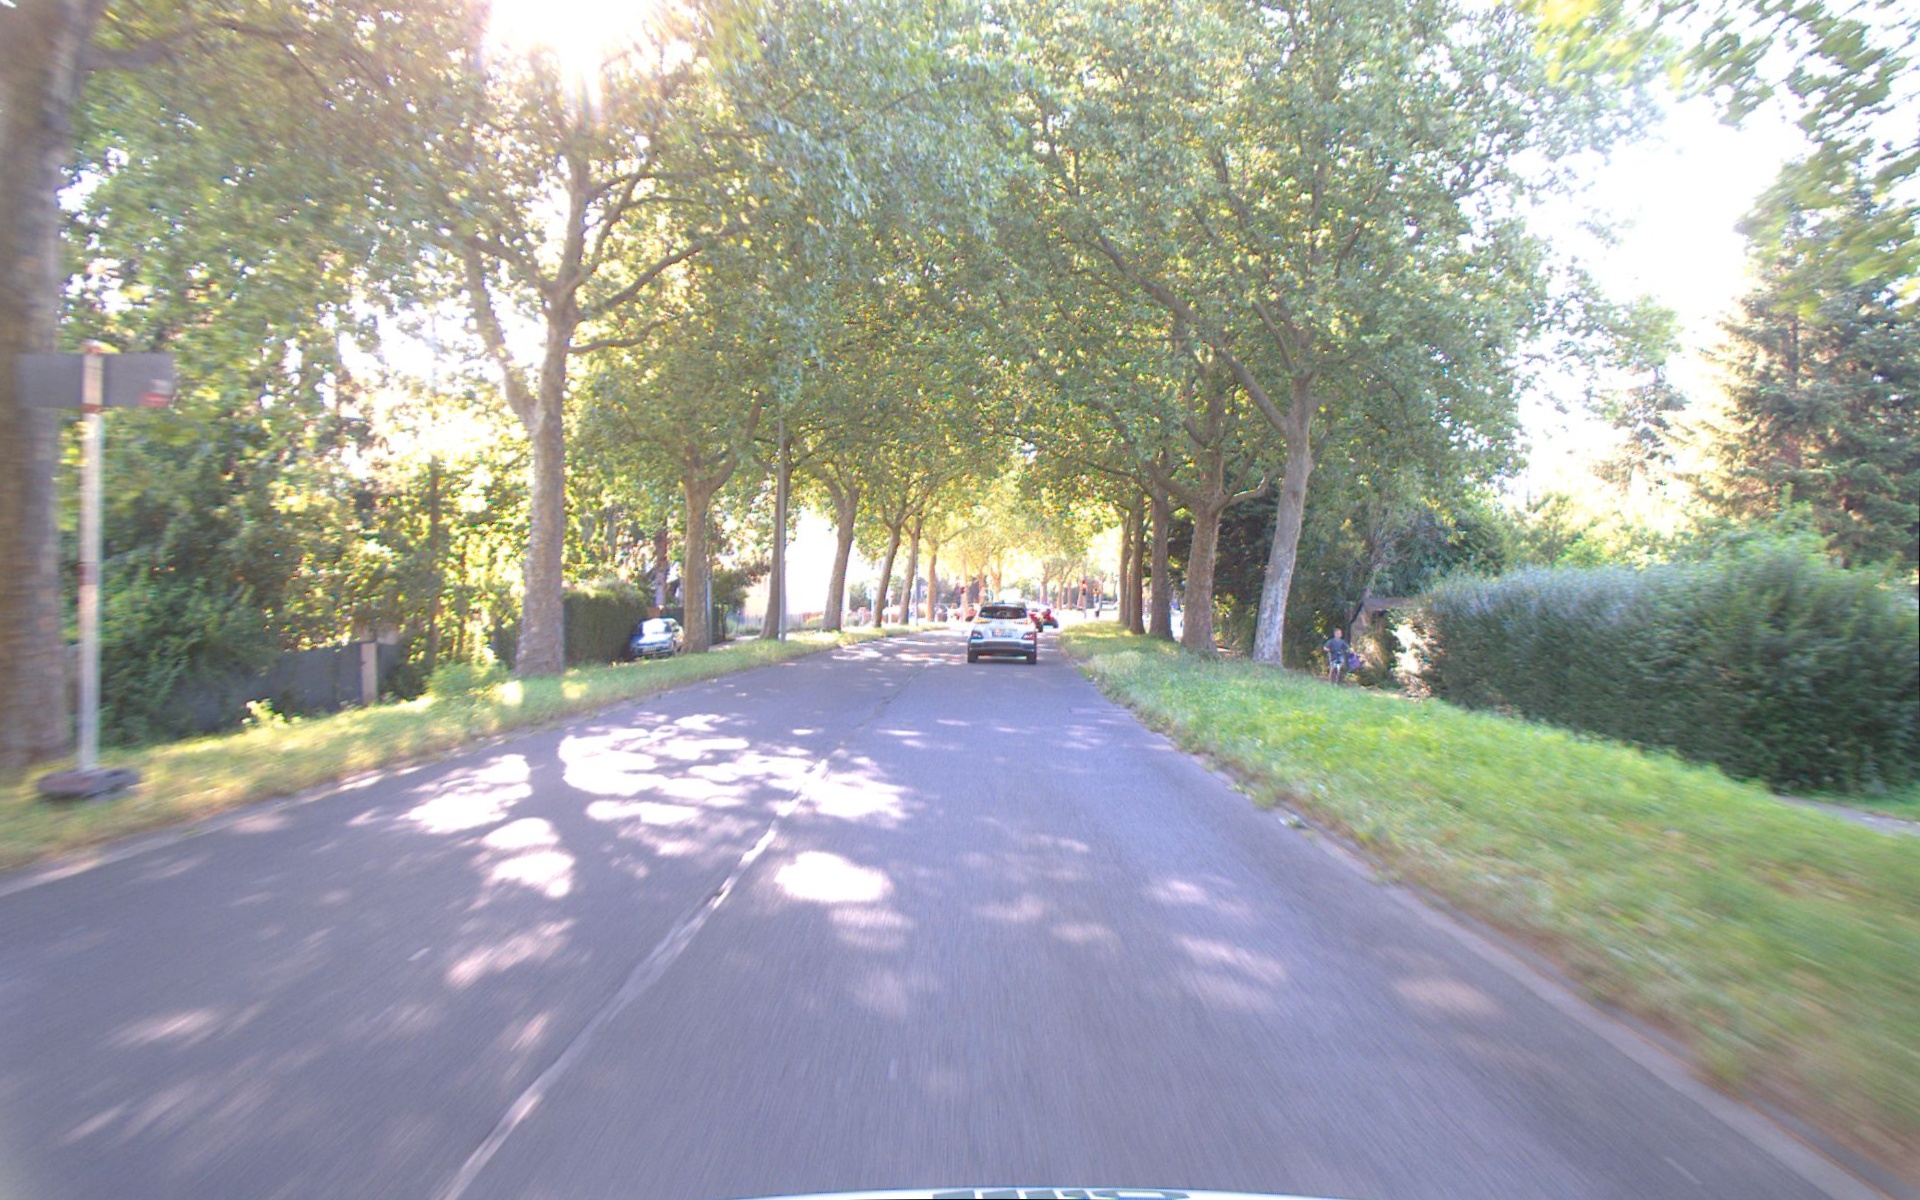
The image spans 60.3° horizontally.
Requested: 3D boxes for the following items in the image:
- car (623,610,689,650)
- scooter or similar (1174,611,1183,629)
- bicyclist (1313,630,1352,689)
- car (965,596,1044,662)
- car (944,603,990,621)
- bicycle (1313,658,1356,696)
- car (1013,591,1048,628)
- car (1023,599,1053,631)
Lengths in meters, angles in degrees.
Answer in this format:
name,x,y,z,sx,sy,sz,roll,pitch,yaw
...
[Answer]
name,x,y,z,sx,sy,sz,roll,pitch,yaw
car,-11.205,1.070,61.154,1.716,1.327,3.999,-1,1,-1
scooter or similar,16.052,1.474,121.383,0.537,1.280,2.314,1,-1,6
bicyclist,8.990,1.434,39.960,0.719,1.390,0.770,1,-1,-2
car,1.201,0.748,43.505,1.952,1.602,4.001,1,-1,2
car,0.652,1.080,148.062,3.902,1.504,2.001,1,-1,5
bicycle,8.987,1.843,39.735,0.541,0.831,1.888,1,-1,-2
car,4.058,0.574,95.490,1.952,2.049,4.001,1,-1,3
car,5.269,1.008,111.752,1.952,2.049,4.001,1,-1,2
